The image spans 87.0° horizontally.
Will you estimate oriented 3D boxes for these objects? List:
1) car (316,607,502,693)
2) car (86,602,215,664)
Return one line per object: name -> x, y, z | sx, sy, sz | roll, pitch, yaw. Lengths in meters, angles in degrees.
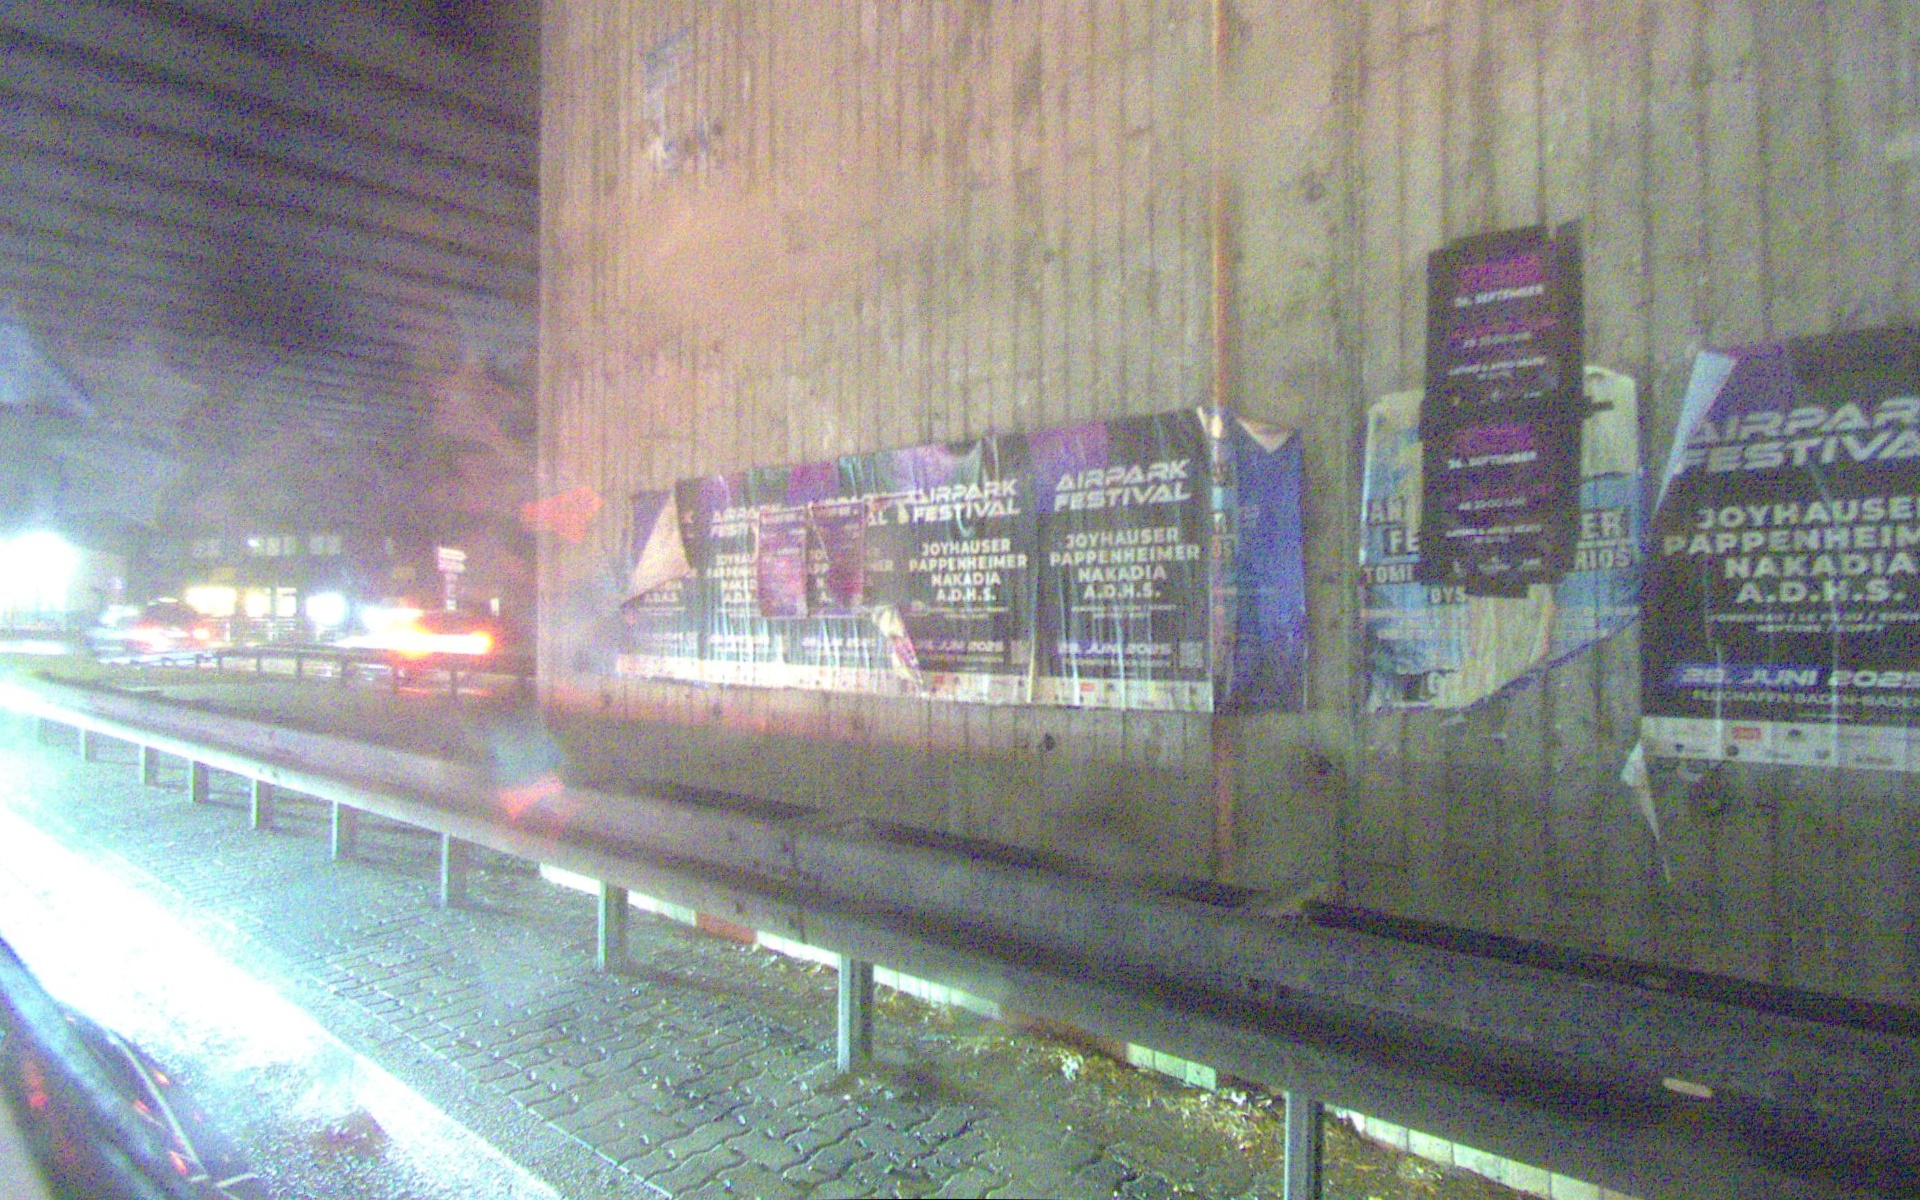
car -> -12.500, 1.059, 22.872 | 4.386, 1.754, 1.888 | -1, 0, 34
car -> -25.109, 0.983, 31.331 | 4.909, 1.754, 1.947 | -1, 0, 37
